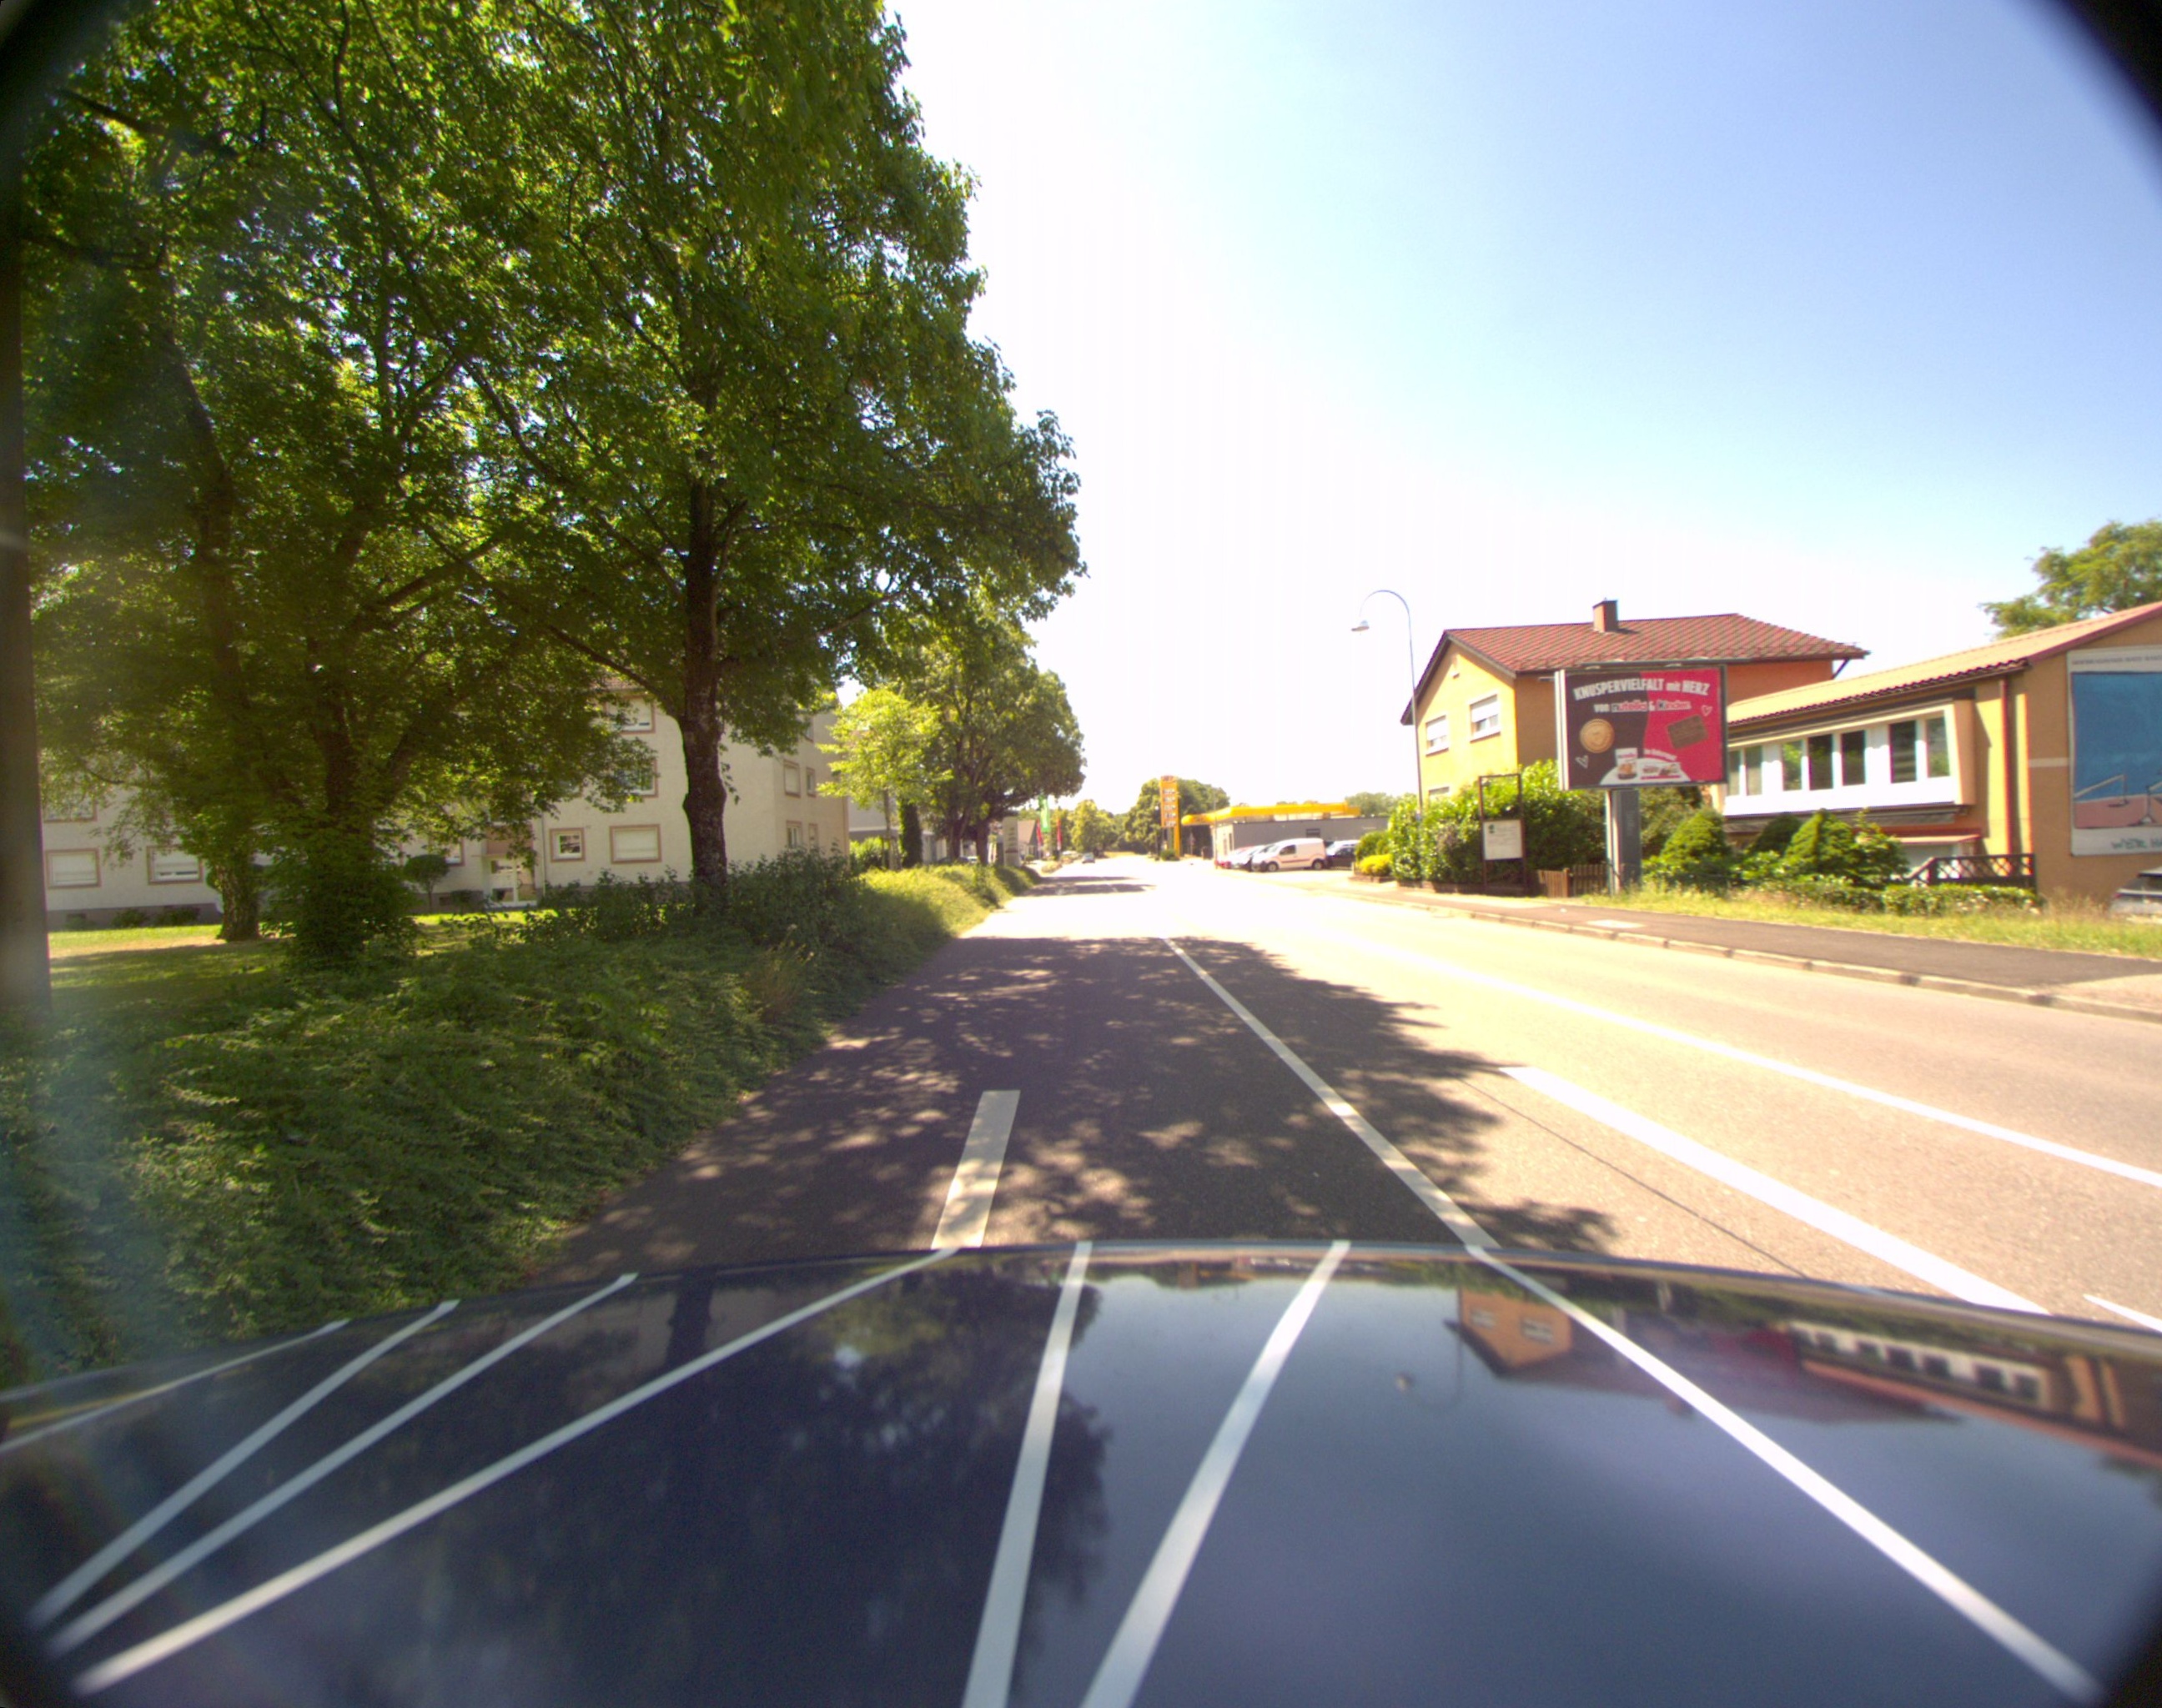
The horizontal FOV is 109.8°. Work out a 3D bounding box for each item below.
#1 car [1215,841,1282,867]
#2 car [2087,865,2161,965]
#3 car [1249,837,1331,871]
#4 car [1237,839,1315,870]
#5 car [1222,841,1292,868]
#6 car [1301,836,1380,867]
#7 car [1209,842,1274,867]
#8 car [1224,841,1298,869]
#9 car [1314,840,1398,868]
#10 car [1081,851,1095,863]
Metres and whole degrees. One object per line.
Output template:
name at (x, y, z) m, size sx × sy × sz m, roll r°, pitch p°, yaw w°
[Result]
car at (12.239, -0.005, 55.533) m, size 4.402 × 1.750 × 1.874 m, roll -2°, pitch 1°, yaw -5°
car at (19.924, 0.979, 12.402) m, size 4.224 × 1.599 × 1.772 m, roll -1°, pitch 1°, yaw 7°
car at (12.188, 0.001, 44.414) m, size 4.191 × 1.858 × 1.874 m, roll -2°, pitch 1°, yaw -5°
car at (11.896, 0.049, 46.560) m, size 4.246 × 1.750 × 1.874 m, roll -2°, pitch 1°, yaw -5°
car at (12.280, 0.022, 53.235) m, size 4.402 × 1.750 × 1.874 m, roll -2°, pitch 1°, yaw -5°
car at (16.559, -0.164, 48.635) m, size 4.402 × 1.815 × 1.874 m, roll -2°, pitch 1°, yaw -5°
car at (12.233, 0.028, 58.052) m, size 4.402 × 1.750 × 1.874 m, roll -2°, pitch 1°, yaw -5°
car at (12.053, 0.058, 51.061) m, size 4.402 × 1.750 × 1.874 m, roll -2°, pitch 1°, yaw -5°
car at (16.751, 0.008, 46.424) m, size 4.402 × 1.554 × 1.874 m, roll -2°, pitch 1°, yaw -5°
car at (0.973, 0.345, 103.253) m, size 1.771 × 1.521 × 4.129 m, roll -2°, pitch 1°, yaw 0°
